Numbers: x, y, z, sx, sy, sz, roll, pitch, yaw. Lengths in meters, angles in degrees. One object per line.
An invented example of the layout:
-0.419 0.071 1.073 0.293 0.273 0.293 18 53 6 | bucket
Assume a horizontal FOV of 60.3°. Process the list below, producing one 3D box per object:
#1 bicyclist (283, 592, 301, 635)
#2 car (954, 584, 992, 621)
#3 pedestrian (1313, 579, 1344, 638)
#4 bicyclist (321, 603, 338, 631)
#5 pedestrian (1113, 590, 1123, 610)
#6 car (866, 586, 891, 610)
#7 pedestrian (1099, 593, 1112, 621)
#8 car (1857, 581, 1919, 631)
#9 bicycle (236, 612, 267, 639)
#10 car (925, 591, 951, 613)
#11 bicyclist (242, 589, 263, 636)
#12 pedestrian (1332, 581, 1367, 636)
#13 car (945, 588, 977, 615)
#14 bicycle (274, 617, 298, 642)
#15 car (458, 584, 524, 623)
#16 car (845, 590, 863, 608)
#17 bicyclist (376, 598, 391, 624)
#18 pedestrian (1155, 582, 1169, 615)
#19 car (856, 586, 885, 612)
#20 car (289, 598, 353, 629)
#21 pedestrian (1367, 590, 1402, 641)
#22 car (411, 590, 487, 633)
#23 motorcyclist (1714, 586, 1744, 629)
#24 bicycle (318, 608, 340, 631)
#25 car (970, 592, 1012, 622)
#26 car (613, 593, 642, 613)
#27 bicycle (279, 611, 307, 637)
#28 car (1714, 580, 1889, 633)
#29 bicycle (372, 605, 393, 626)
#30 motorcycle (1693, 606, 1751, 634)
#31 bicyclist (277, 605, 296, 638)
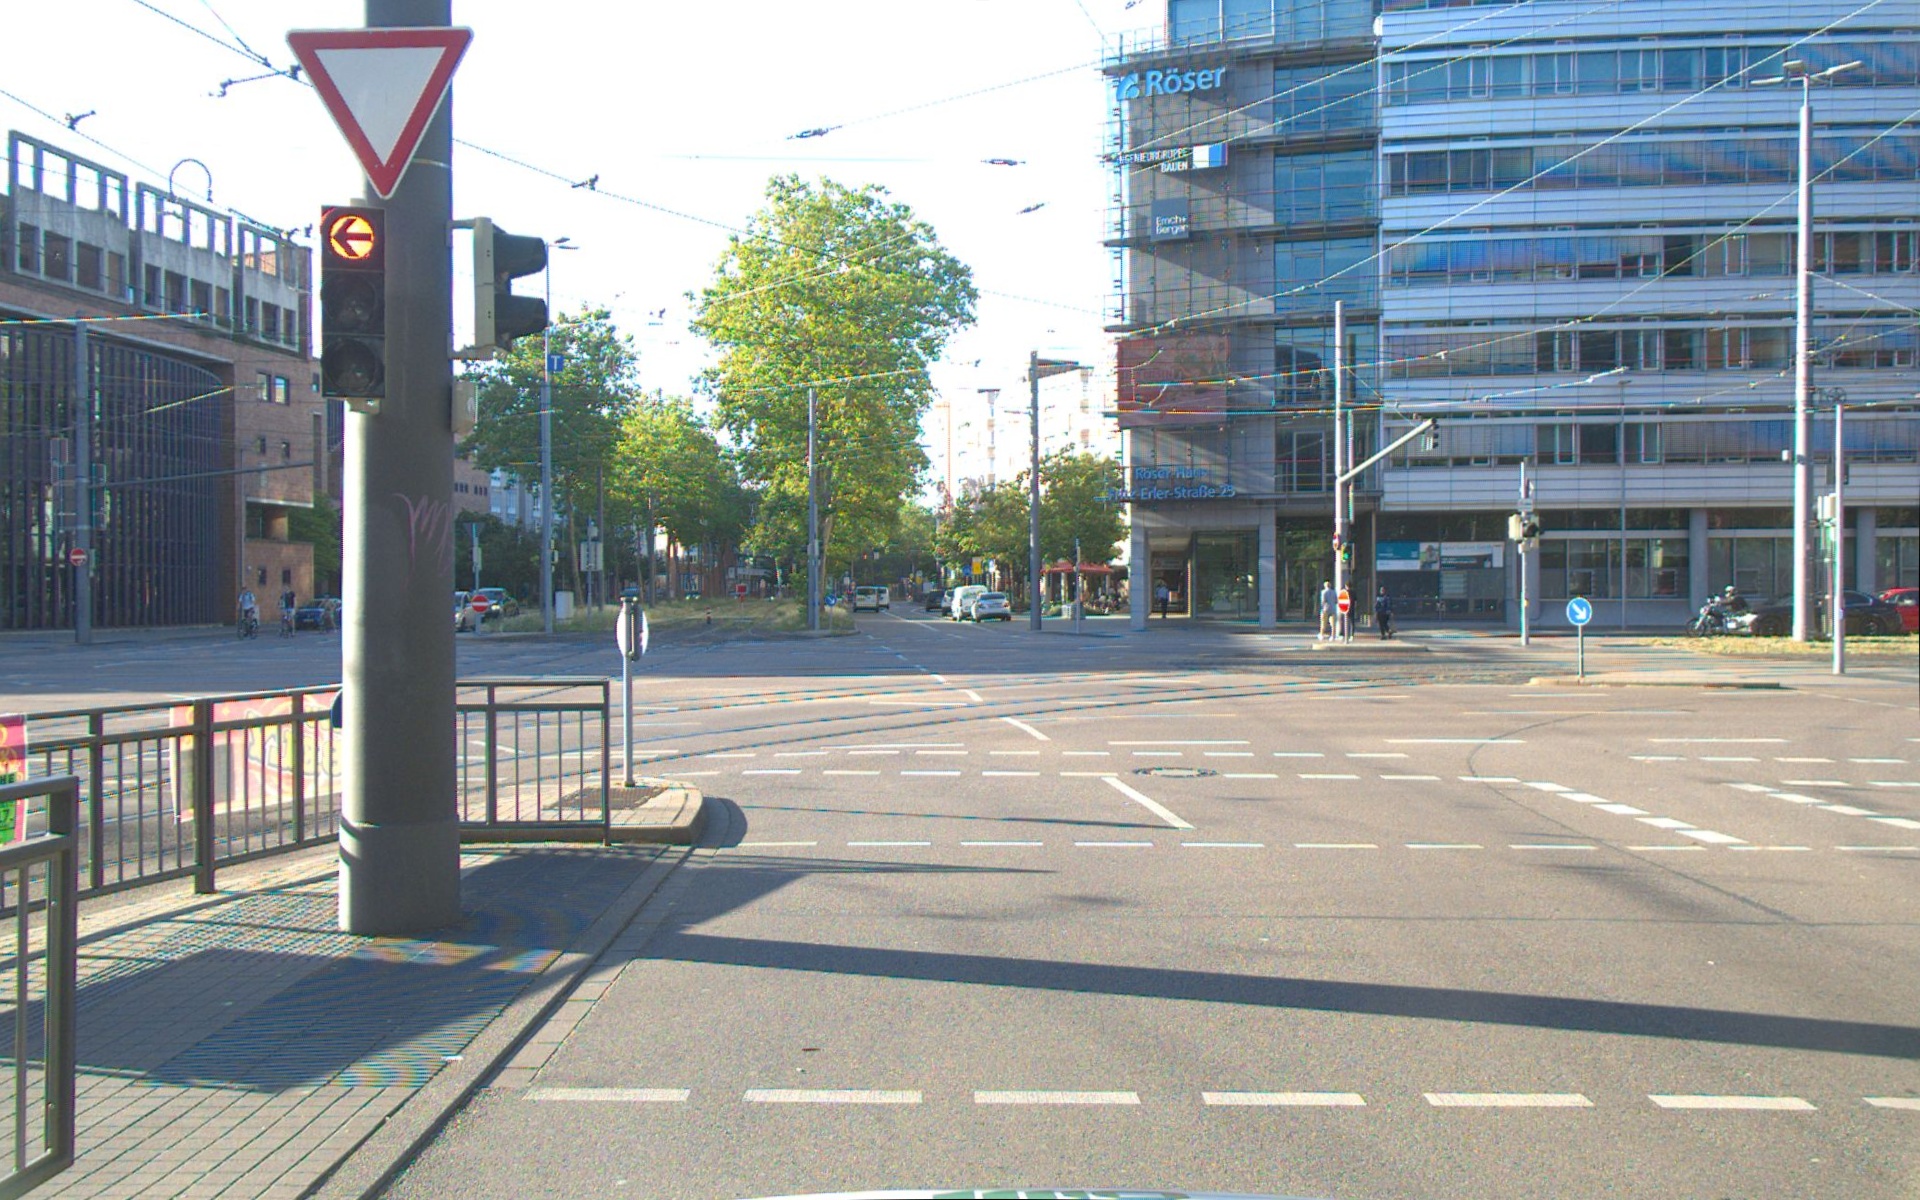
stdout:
-25.835 0.528 63.994 0.449 1.631 0.581 -1 0 -1 | bicyclist
0.695 0.117 89.571 1.953 1.892 3.999 -1 0 -1 | car
11.511 0.277 51.699 0.845 1.820 0.872 -1 0 9 | pedestrian
-27.031 0.728 70.859 0.495 1.199 0.581 -1 0 -1 | bicyclist
10.519 -0.012 110.175 0.565 1.311 0.910 -1 0 -1 | pedestrian
-6.884 -0.180 139.615 1.953 1.945 3.999 -1 0 -1 | car
9.265 0.438 105.107 0.729 1.744 0.612 -1 0 -1 | pedestrian
29.310 0.127 49.524 3.903 1.418 1.786 -2 0 4 | car
-26.886 0.960 62.784 0.531 0.980 1.586 -1 0 -1 | bicycle
-1.669 0.132 126.631 1.953 1.646 3.999 -1 0 -1 | car
-26.858 0.459 62.770 0.525 1.761 0.581 -1 0 -1 | bicyclist
12.430 0.269 52.823 0.893 1.714 1.035 -1 0 4 | pedestrian
0.045 0.071 105.207 1.953 1.646 3.999 -1 0 -1 | car
-27.523 1.196 67.543 0.458 0.980 1.320 -1 0 -1 | bicycle
-21.114 0.145 74.593 1.953 1.668 3.999 -1 0 -2 | car
-12.595 -0.134 196.133 1.953 2.049 3.999 -1 0 -1 | car
-27.634 0.534 79.266 0.495 1.232 0.581 -1 0 -1 | bicyclist
9.390 -0.074 76.844 0.599 1.534 0.579 -1 0 7 | pedestrian
-6.552 -0.084 121.473 1.921 1.881 5.329 -1 0 -1 | car
-30.858 0.636 80.027 1.633 1.461 3.999 -1 0 -2 | car
13.450 0.495 52.450 0.928 1.591 0.897 -1 0 6 | pedestrian
-20.661 0.445 67.034 1.953 1.668 3.999 -1 0 -2 | car
23.165 0.225 49.814 0.697 1.298 0.460 -1 0 3 | motorcyclist
-27.033 0.825 70.882 0.442 0.980 1.347 -1 0 -1 | bicycle
1.544 0.337 82.785 1.953 1.400 3.999 -1 0 -1 | car
-31.605 0.306 157.127 1.953 1.847 3.999 -1 0 -1 | car
-25.826 0.928 64.069 0.463 0.980 1.575 -1 0 -1 | bicycle
23.893 0.180 47.073 4.070 1.423 1.786 -1 0 4 | car
-27.669 0.750 79.298 0.482 0.980 1.486 -1 0 -1 | bicycle
22.945 0.606 49.805 1.535 0.824 0.467 -1 0 3 | motorcycle
-27.510 0.869 67.552 0.495 1.327 0.581 -1 0 -1 | bicyclist
